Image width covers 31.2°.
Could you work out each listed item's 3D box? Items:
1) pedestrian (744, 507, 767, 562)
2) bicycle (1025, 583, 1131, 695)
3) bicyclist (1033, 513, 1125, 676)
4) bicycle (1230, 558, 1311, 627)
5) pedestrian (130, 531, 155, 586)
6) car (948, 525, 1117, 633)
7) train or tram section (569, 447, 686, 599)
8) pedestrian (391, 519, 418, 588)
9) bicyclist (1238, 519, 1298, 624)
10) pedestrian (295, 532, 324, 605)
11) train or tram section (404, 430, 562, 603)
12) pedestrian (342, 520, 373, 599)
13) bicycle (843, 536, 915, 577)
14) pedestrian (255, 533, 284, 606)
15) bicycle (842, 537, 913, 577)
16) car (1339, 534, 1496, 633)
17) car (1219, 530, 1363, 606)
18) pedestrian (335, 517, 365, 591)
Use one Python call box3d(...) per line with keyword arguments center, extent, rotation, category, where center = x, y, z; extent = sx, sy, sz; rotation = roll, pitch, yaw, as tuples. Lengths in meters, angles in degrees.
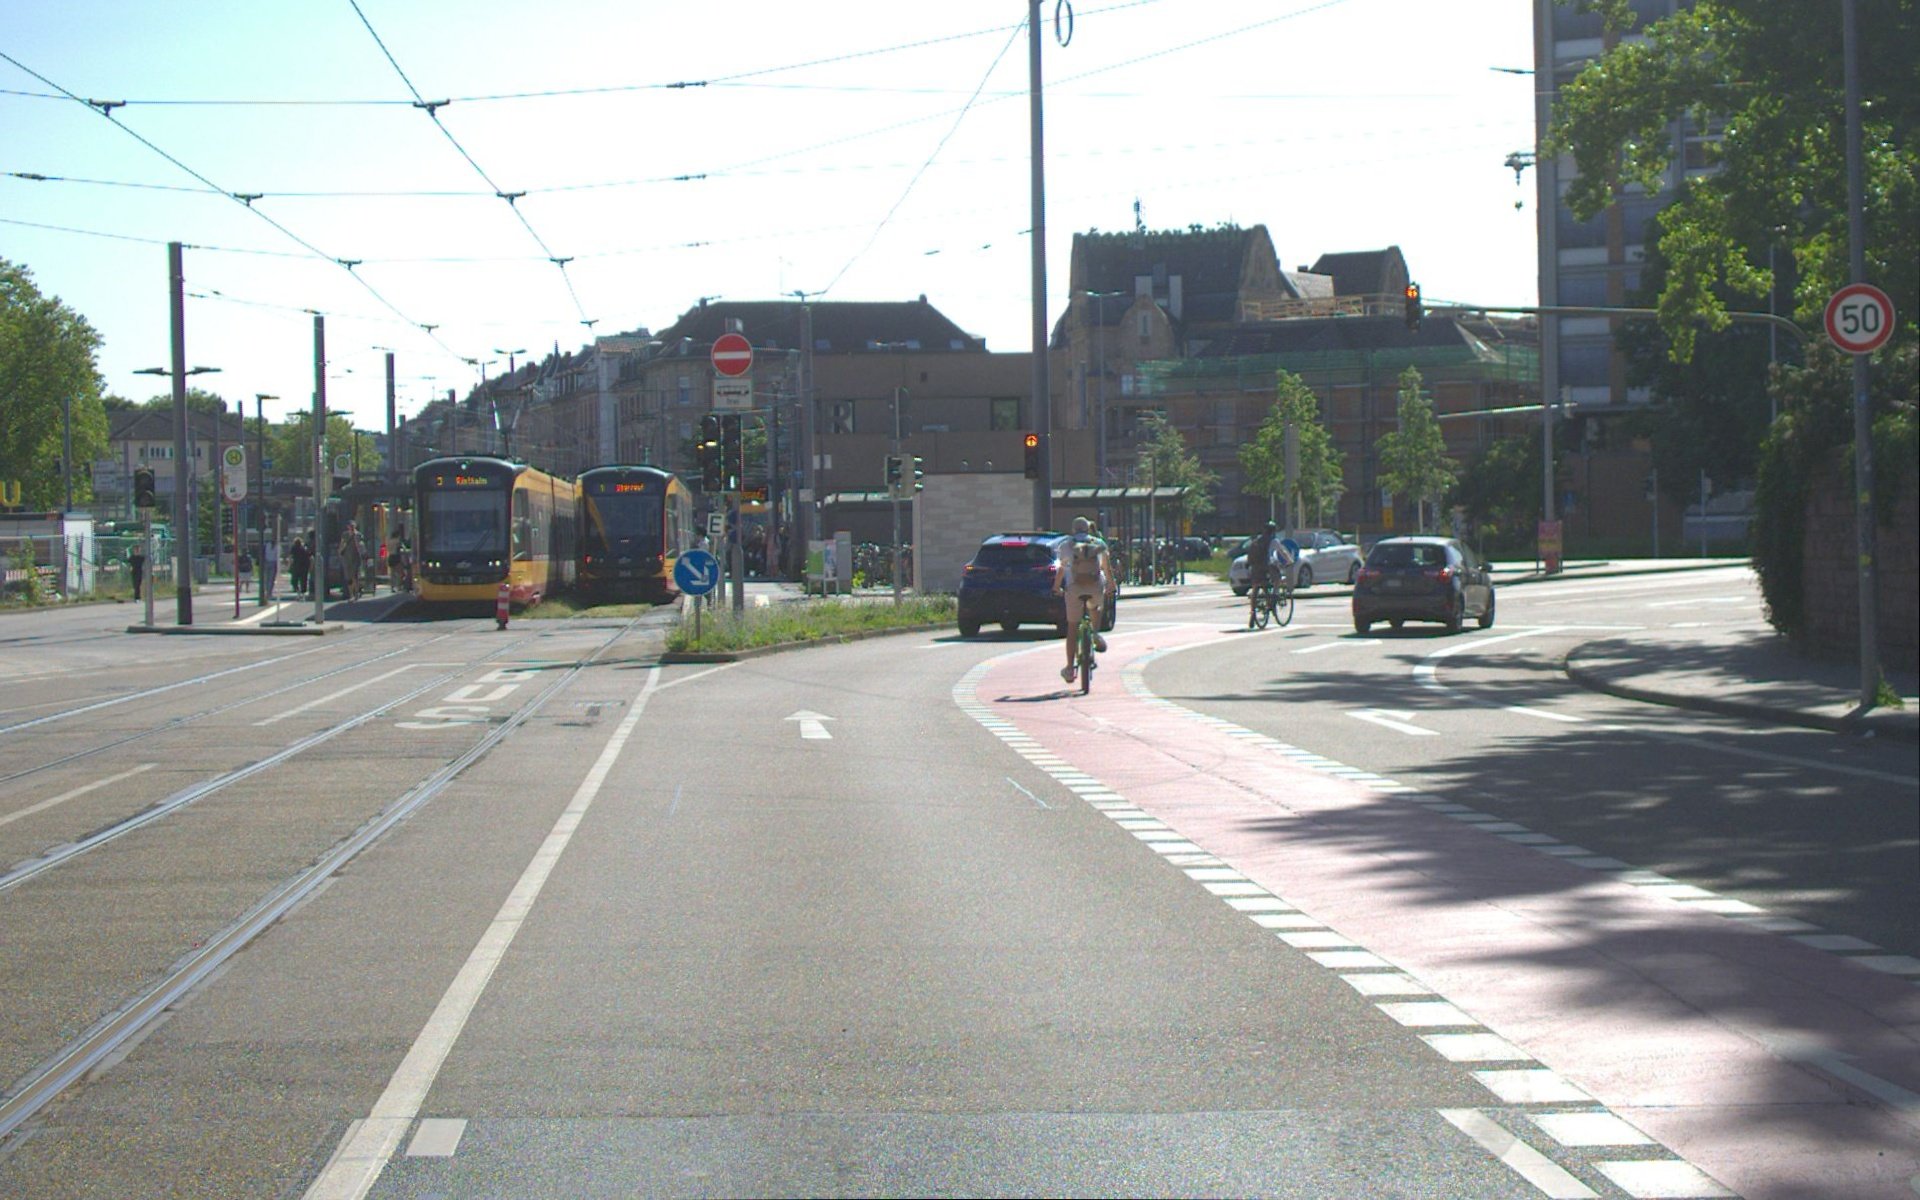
box3d(center=(-7.216, -2.312, 121.341), extent=(0.660, 1.946, 0.629), rotation=(-1, 1, -15), category="pedestrian")
box3d(center=(1.251, 0.395, 36.087), extent=(0.705, 1.101, 1.716), rotation=(1, 2, 16), category="bicycle")
box3d(center=(1.254, -0.076, 36.072), extent=(0.705, 1.669, 1.100), rotation=(1, 2, 16), category="bicyclist")
box3d(center=(5.138, -0.140, 56.729), extent=(0.705, 1.051, 2.311), rotation=(2, 2, 21), category="bicycle")
box3d(center=(-25.345, -1.291, 106.589), extent=(0.626, 1.691, 0.662), rotation=(-1, 1, -5), category="pedestrian")
box3d(center=(1.175, -0.363, 53.831), extent=(1.790, 1.599, 3.710), rotation=(1, 2, 15), category="car")
box3d(center=(-8.619, -2.054, 90.467), extent=(2.741, 3.639, 13.788), rotation=(-1, 2, -4), category="train or tram section")
box3d(center=(-14.717, -1.239, 91.102), extent=(0.626, 1.821, 0.662), rotation=(-1, 1, -5), category="pedestrian")
box3d(center=(5.065, -0.477, 56.505), extent=(0.705, 1.694, 0.986), rotation=(2, 2, 21), category="bicyclist")
box3d(center=(-16.430, -0.807, 86.889), extent=(0.626, 1.821, 0.662), rotation=(-1, 1, -5), category="pedestrian")
box3d(center=(-10.928, -1.964, 79.868), extent=(2.741, 3.639, 13.788), rotation=(-1, 2, -4), category="train or tram section")
box3d(center=(-13.976, -0.944, 79.781), extent=(0.626, 1.821, 0.662), rotation=(-1, 1, -5), category="pedestrian")
box3d(center=(-2.242, -1.197, 95.387), extent=(1.933, 1.099, 0.599), rotation=(-1, 2, -6), category="bicycle")
box3d(center=(-17.395, -0.762, 86.636), extent=(0.626, 1.821, 0.662), rotation=(-1, 1, -5), category="pedestrian")
box3d(center=(-2.314, -1.209, 96.154), extent=(1.933, 1.099, 0.599), rotation=(-1, 2, -6), category="bicycle")
box3d(center=(7.400, -0.295, 55.350), extent=(1.791, 1.506, 3.709), rotation=(1, 2, 19), category="car")
box3d(center=(7.378, -0.733, 76.361), extent=(1.704, 1.638, 3.706), rotation=(1, 2, 32), category="car")
box3d(center=(-15.049, -1.140, 84.792), extent=(0.626, 1.821, 0.662), rotation=(-1, 1, -5), category="pedestrian")
